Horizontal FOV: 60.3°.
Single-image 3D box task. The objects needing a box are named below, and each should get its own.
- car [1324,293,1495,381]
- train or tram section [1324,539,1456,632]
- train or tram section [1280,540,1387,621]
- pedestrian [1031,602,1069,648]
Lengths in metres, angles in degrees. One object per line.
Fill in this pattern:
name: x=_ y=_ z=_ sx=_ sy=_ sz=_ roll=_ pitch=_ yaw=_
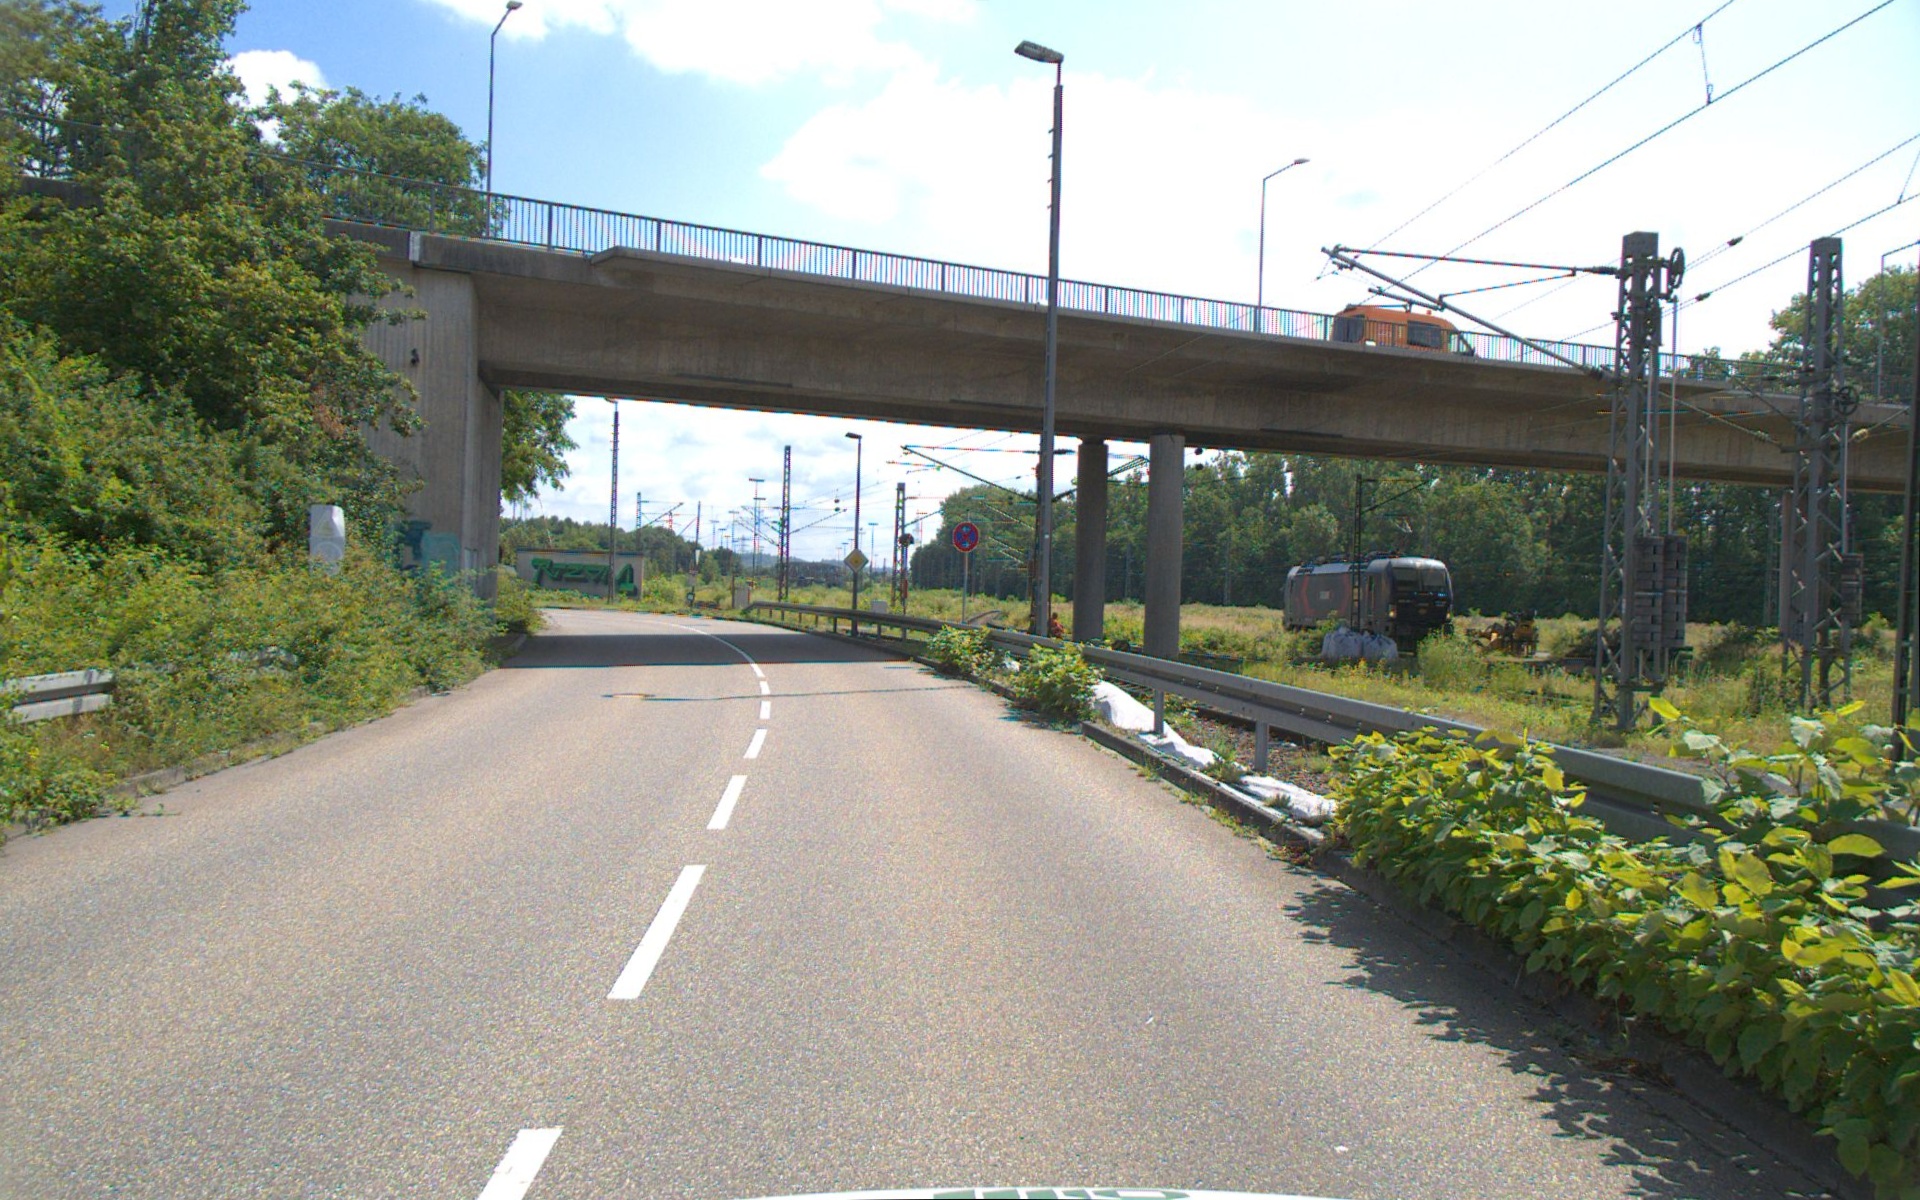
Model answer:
car: x=14.046 y=-8.164 z=51.641 sx=5.261 sy=2.049 sz=1.981 roll=0 pitch=-1 yaw=-29
train or tram section: x=17.749 y=-0.561 z=68.907 sx=2.833 sy=3.570 sz=8.560 roll=1 pitch=0 yaw=-3
train or tram section: x=17.356 y=-0.834 z=77.349 sx=2.701 sy=3.538 sz=8.234 roll=1 pitch=0 yaw=-3
pedestrian: x=3.165 y=0.862 z=58.154 sx=1.089 sy=1.567 sz=1.577 roll=1 pitch=0 yaw=-6
